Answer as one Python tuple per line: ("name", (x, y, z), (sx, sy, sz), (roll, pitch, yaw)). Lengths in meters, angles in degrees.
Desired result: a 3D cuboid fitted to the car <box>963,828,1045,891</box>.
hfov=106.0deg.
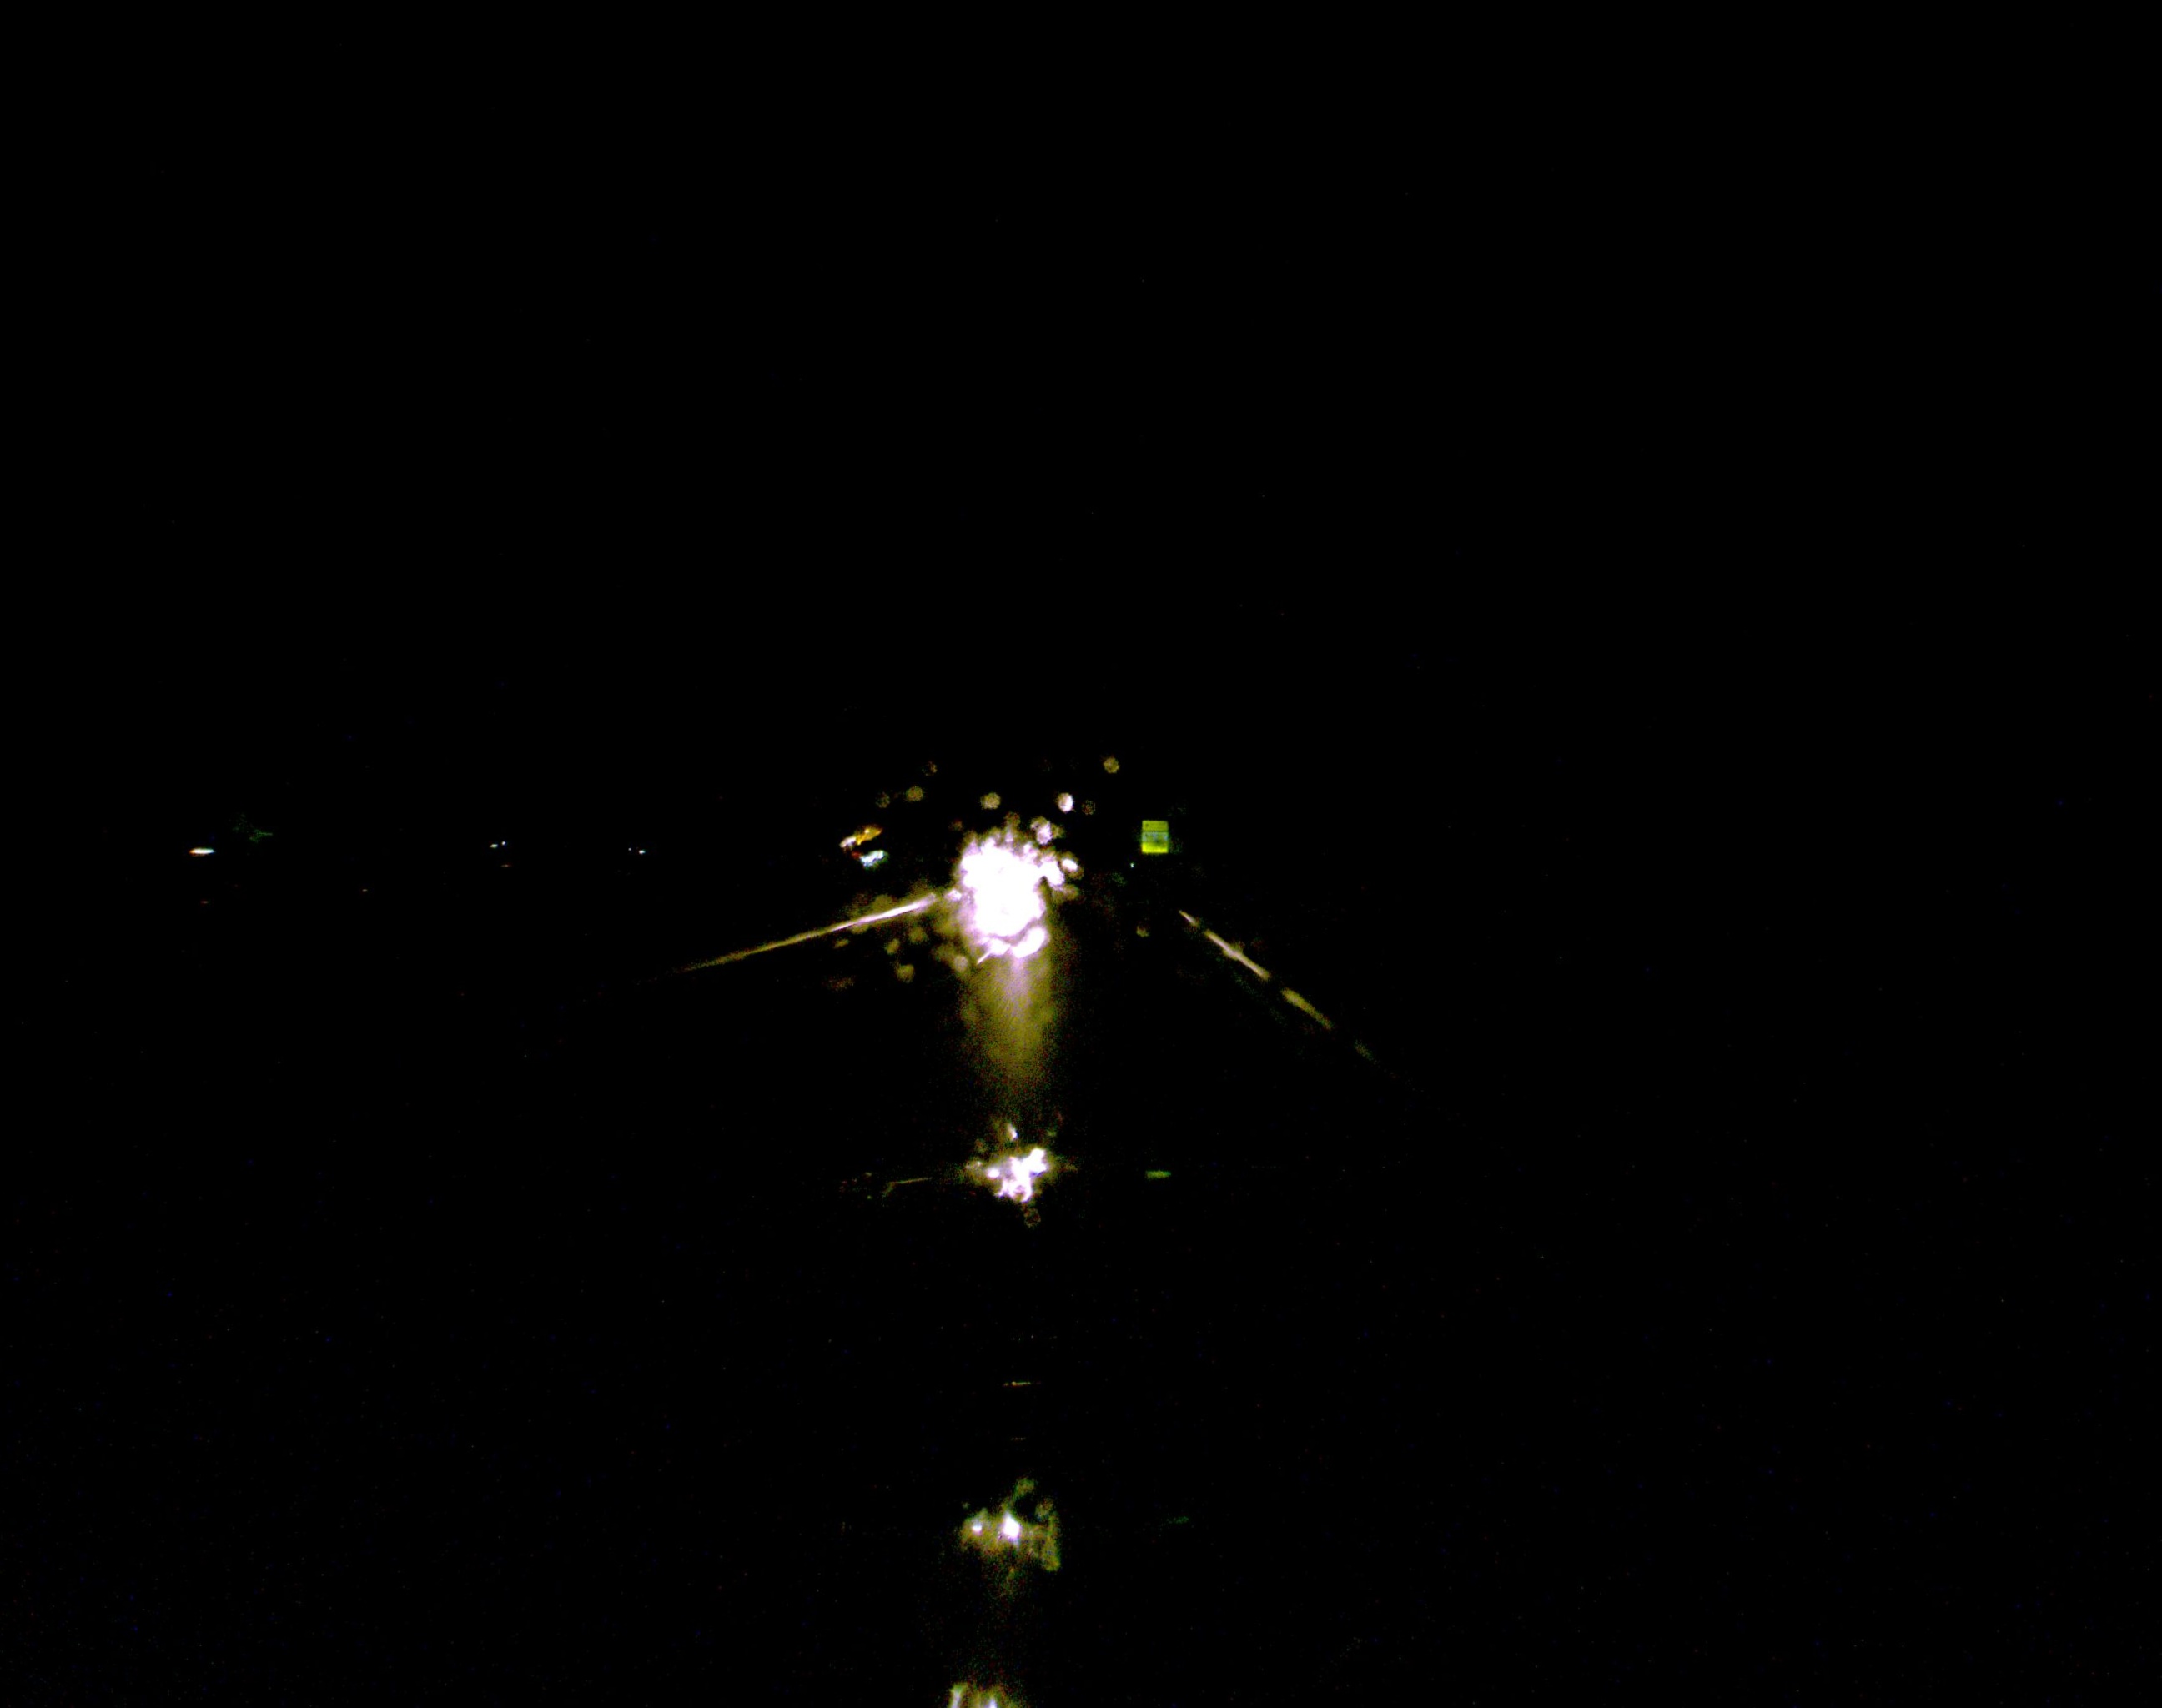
("car", (-3.111, 0.267, 34.610), (2.743, 2.269, 6.260), (-3, -1, 0))
